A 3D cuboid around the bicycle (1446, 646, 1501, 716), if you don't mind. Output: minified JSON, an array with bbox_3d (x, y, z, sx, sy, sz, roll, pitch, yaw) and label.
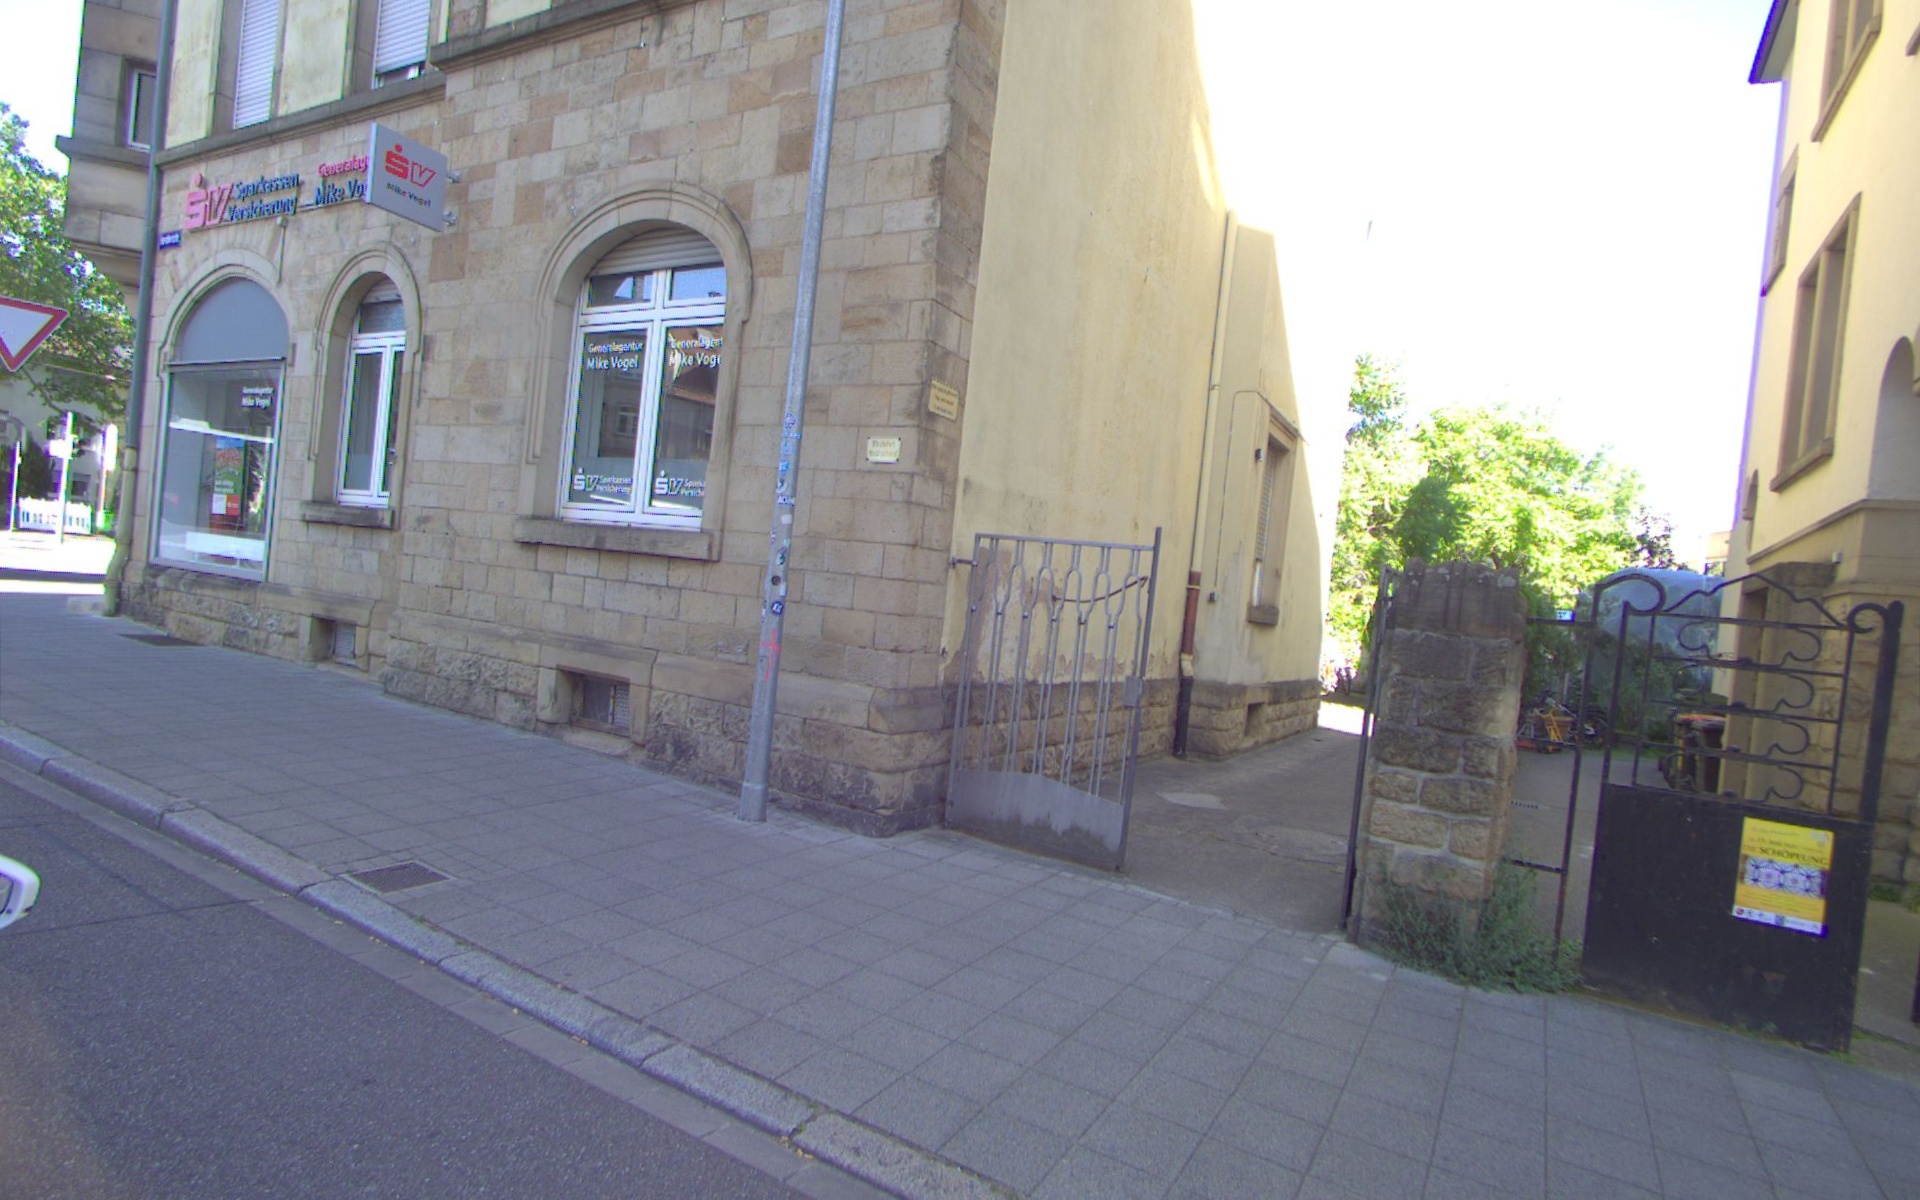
[{"bbox_3d":[12.598,1.935,24.642,0.904,1.532,2.667,6,2,31],"label":"bicycle"}]

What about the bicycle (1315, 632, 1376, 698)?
[{"bbox_3d":[9.980,1.640,25.973,0.904,1.532,2.667,6,2,31],"label":"bicycle"}]

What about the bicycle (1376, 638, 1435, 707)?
[{"bbox_3d":[11.213,1.776,25.256,0.904,1.532,2.667,6,2,31],"label":"bicycle"}]
